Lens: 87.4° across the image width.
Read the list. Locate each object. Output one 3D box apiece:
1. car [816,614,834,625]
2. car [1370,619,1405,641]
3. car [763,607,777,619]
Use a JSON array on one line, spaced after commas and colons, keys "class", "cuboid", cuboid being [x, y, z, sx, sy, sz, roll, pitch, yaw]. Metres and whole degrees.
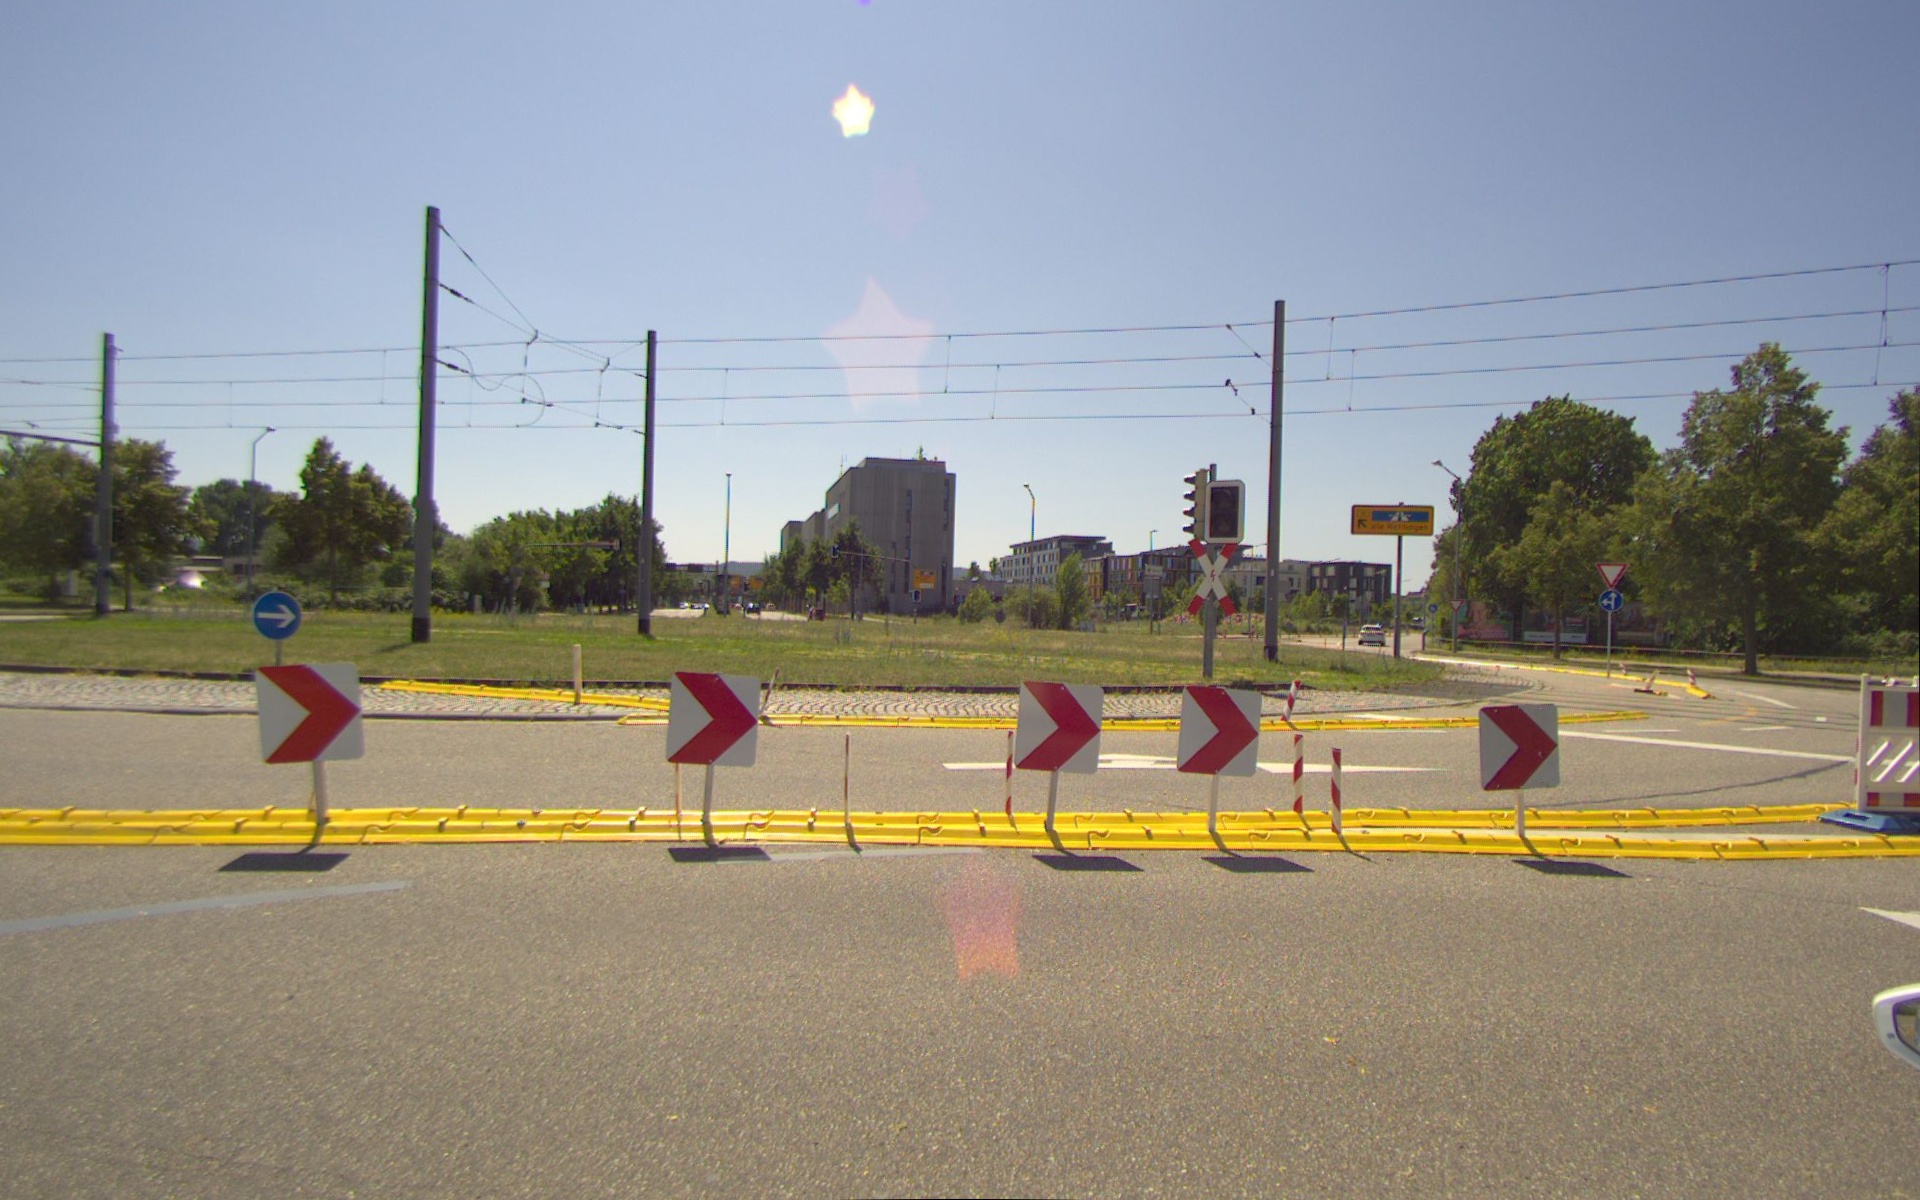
[{"class": "car", "cuboid": [-14.606, 2.101, 108.849, 1.473, 1.104, 3.509, 2, 0, -15]}, {"class": "car", "cuboid": [31.367, 2.191, 73.640, 1.963, 1.506, 4.361, 2, 0, 28]}, {"class": "car", "cuboid": [-25.894, 1.736, 136.582, 1.730, 1.427, 3.392, 2, 0, -13]}]
